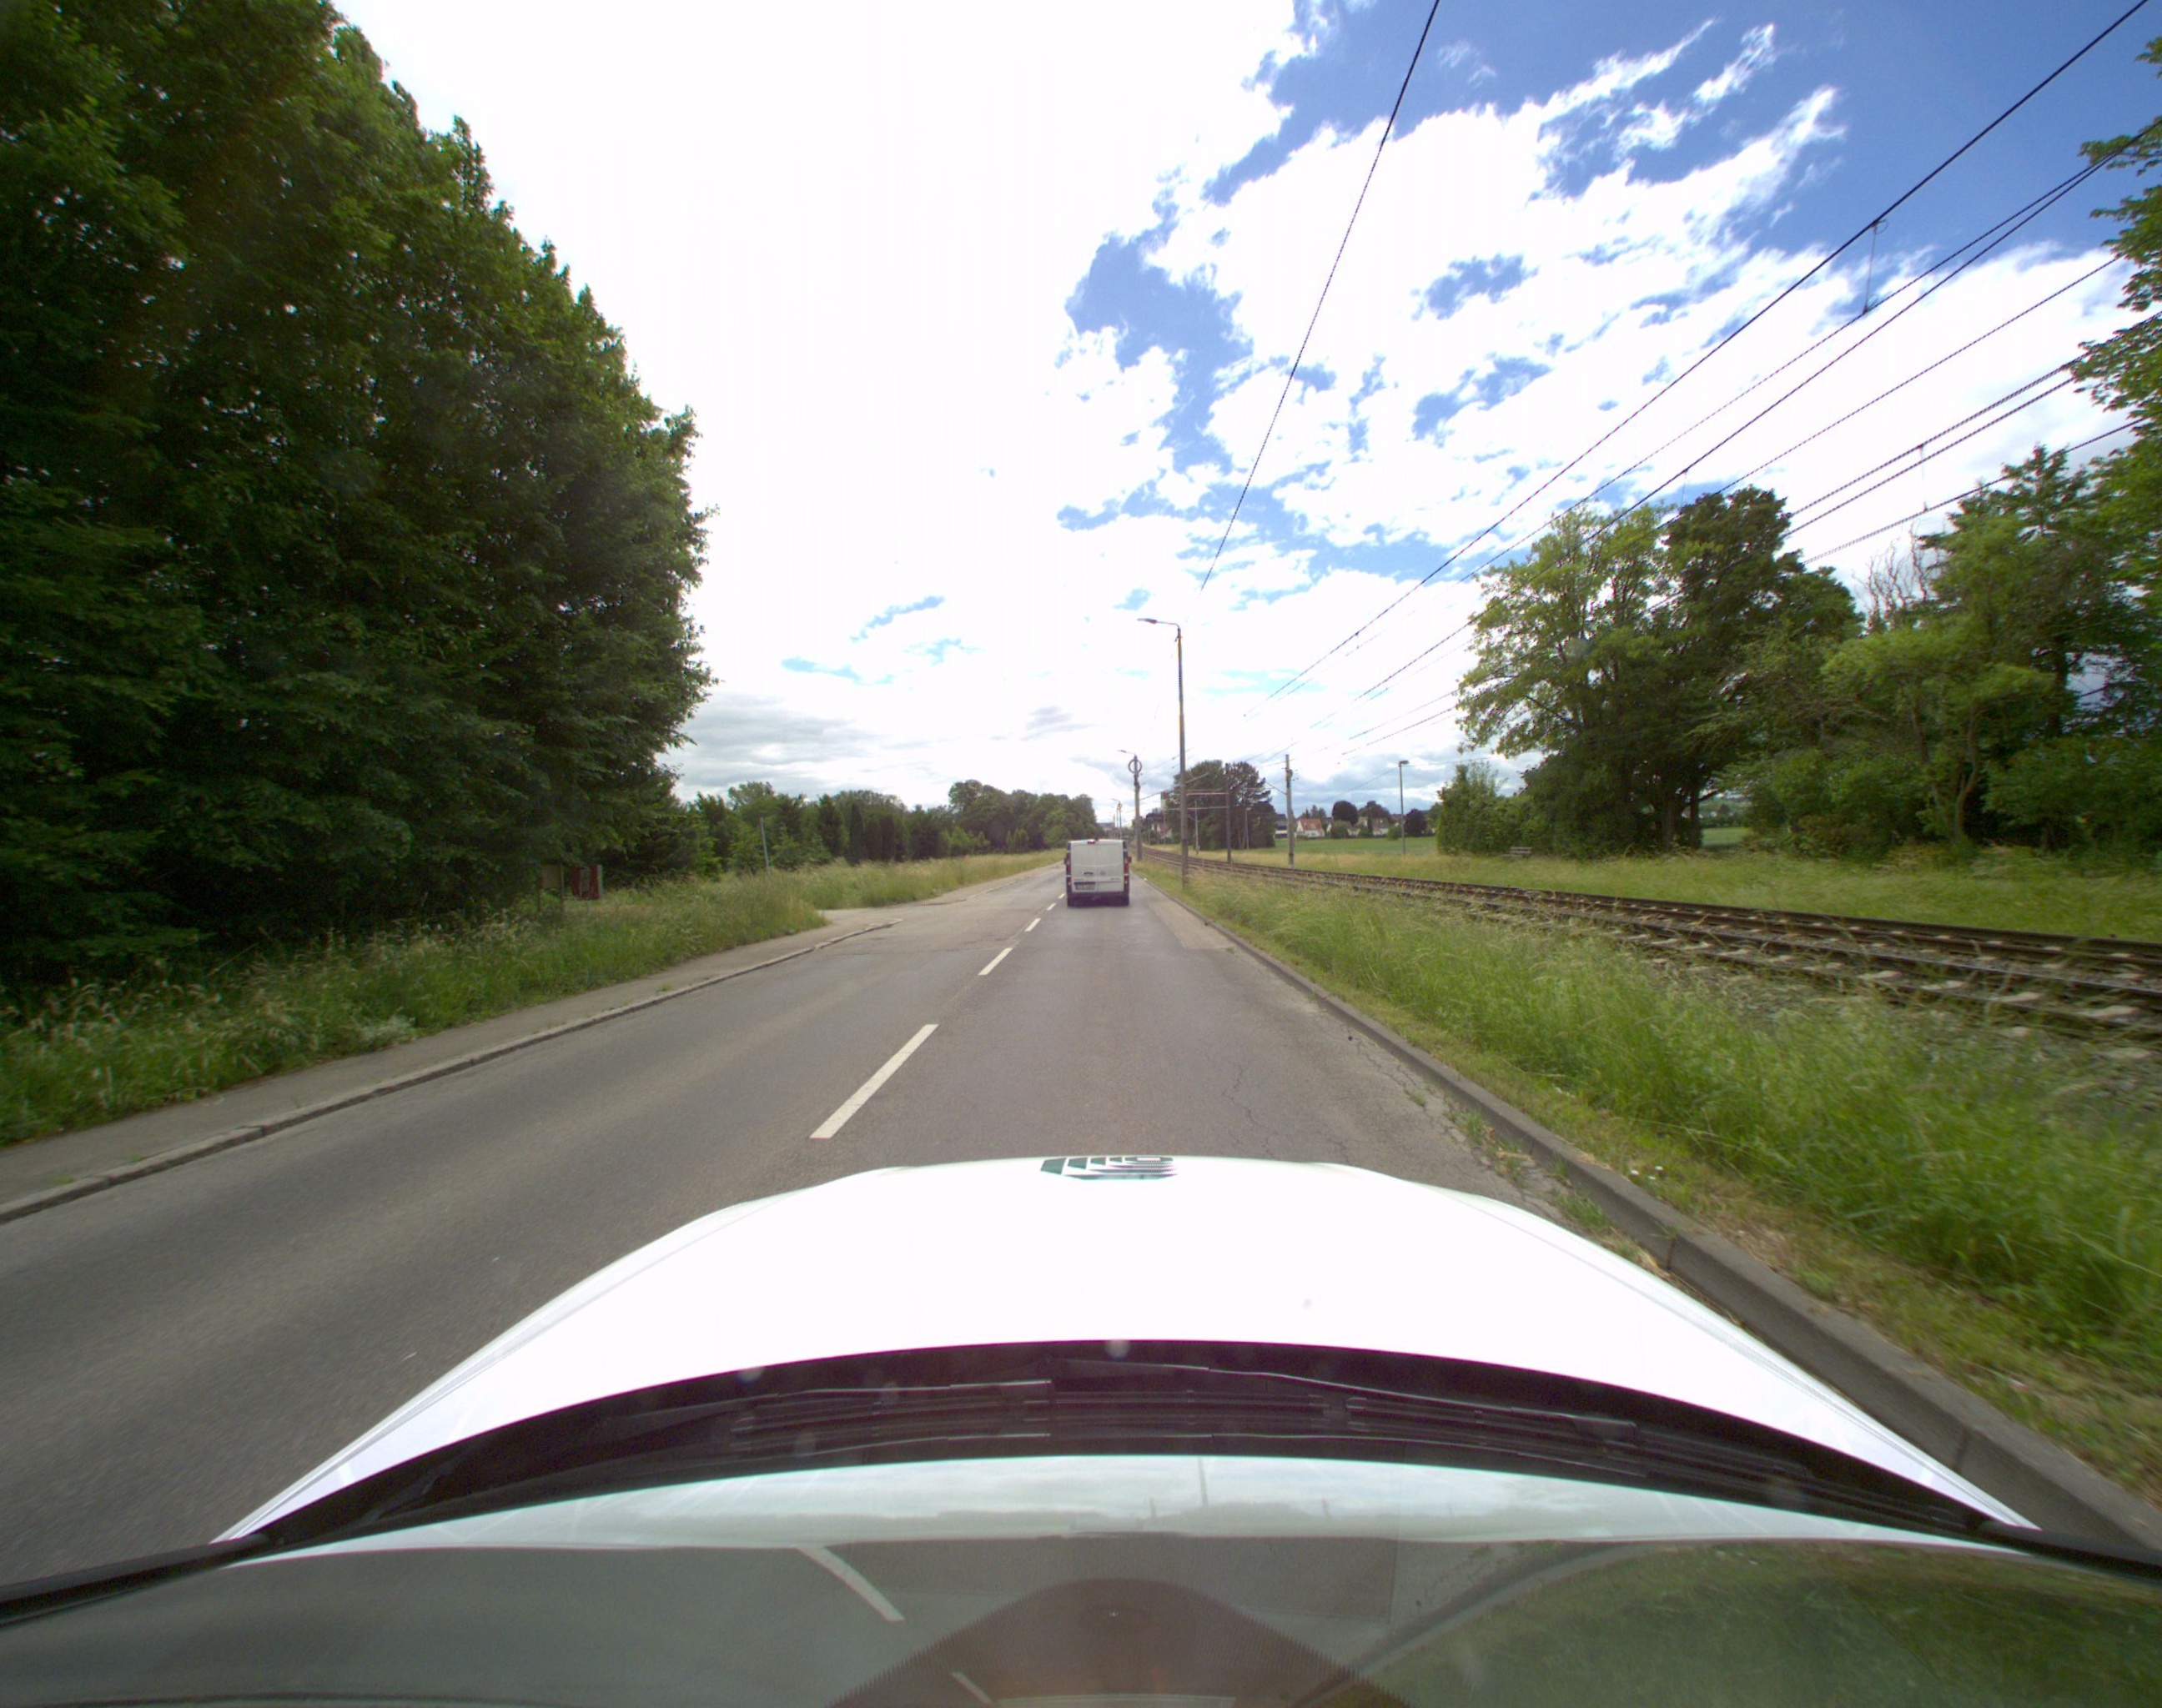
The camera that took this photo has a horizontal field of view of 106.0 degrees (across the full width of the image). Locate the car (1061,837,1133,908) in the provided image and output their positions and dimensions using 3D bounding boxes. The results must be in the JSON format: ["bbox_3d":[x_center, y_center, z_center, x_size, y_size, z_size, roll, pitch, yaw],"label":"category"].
[{"bbox_3d":[0.477,0.529,25.126,1.987,1.957,4.000,-2,0,0],"label":"car"}]
